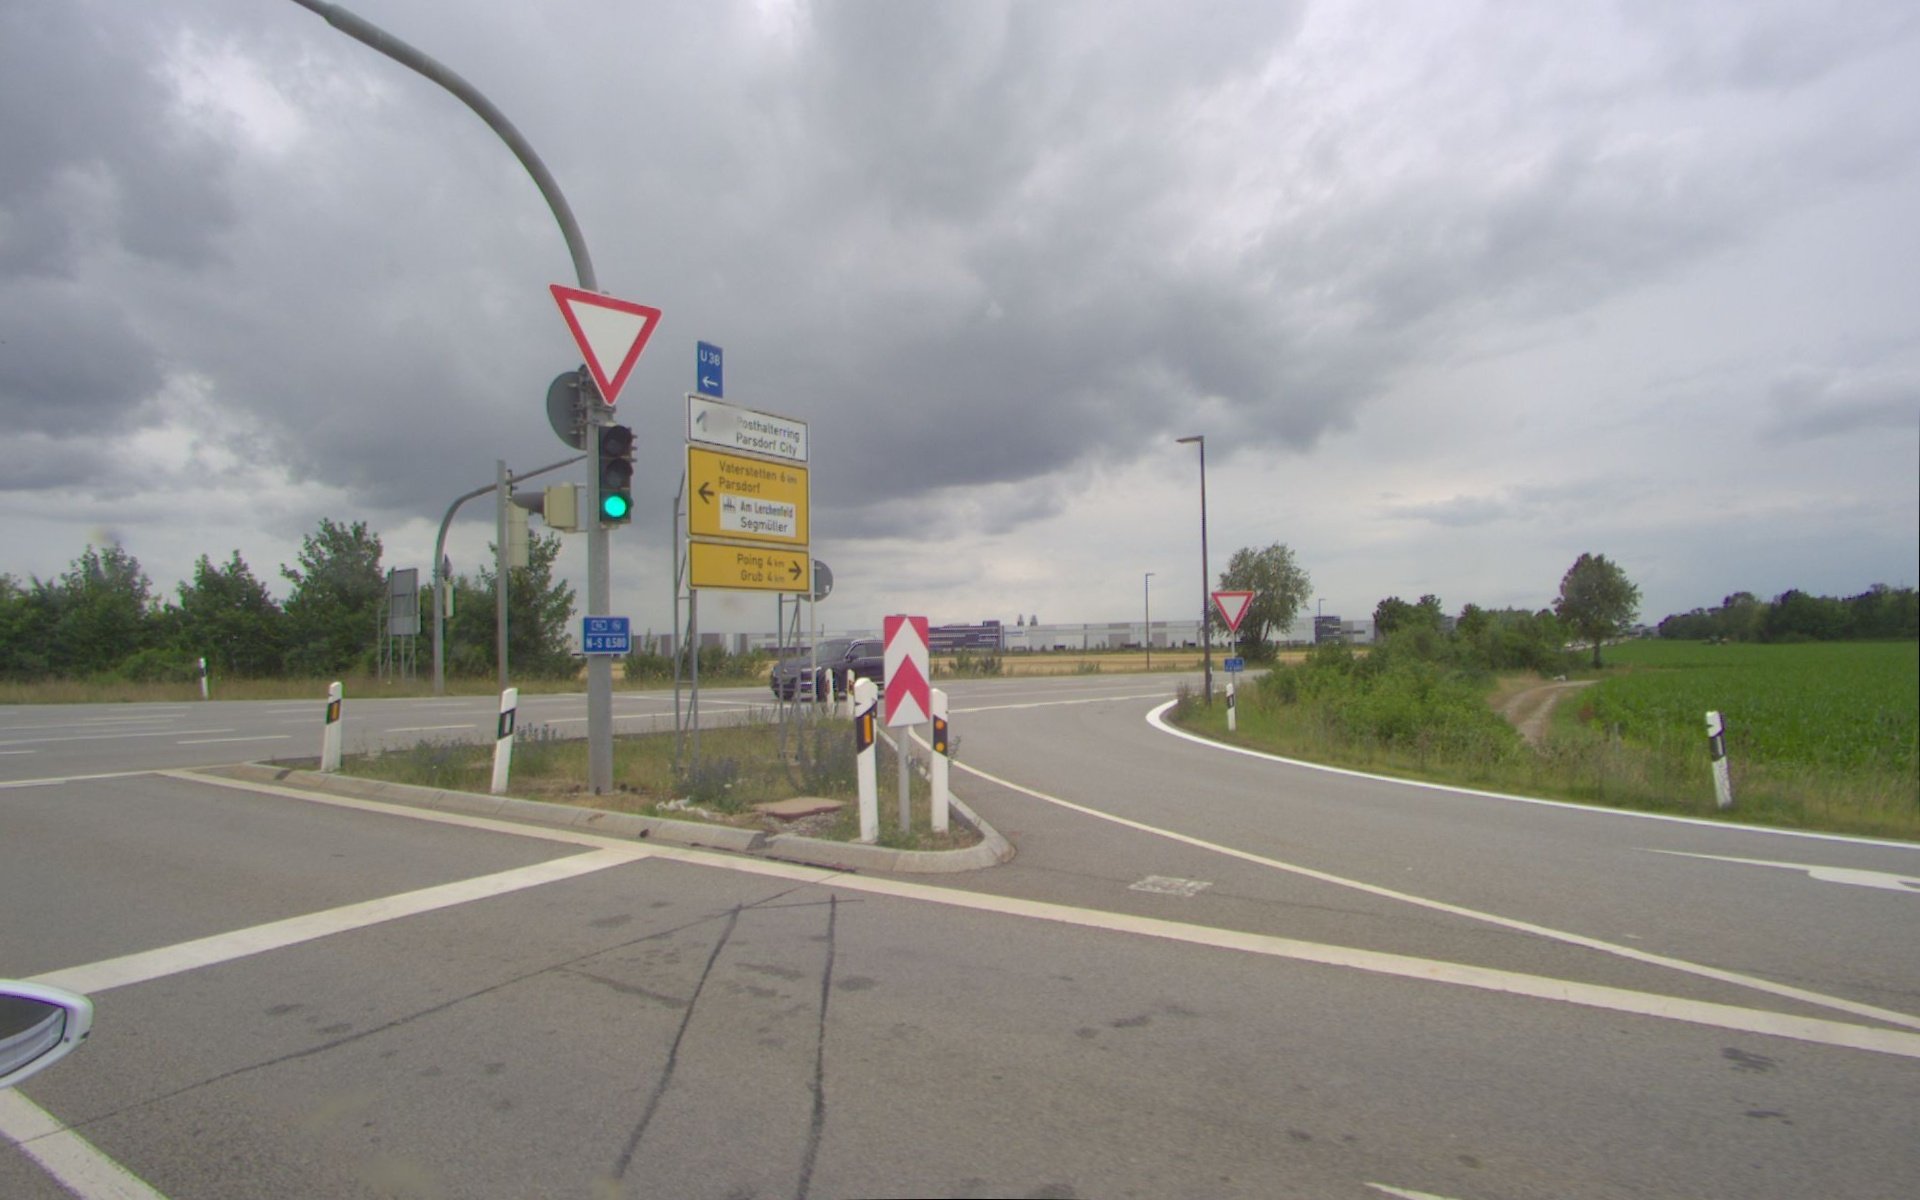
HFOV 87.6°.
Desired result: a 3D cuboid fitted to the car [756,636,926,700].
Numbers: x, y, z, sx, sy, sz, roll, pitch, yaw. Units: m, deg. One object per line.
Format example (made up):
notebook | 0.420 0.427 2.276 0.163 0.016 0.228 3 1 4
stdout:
car | -3.374 1.953 29.333 1.977 1.705 4.961 -2 -4 41
